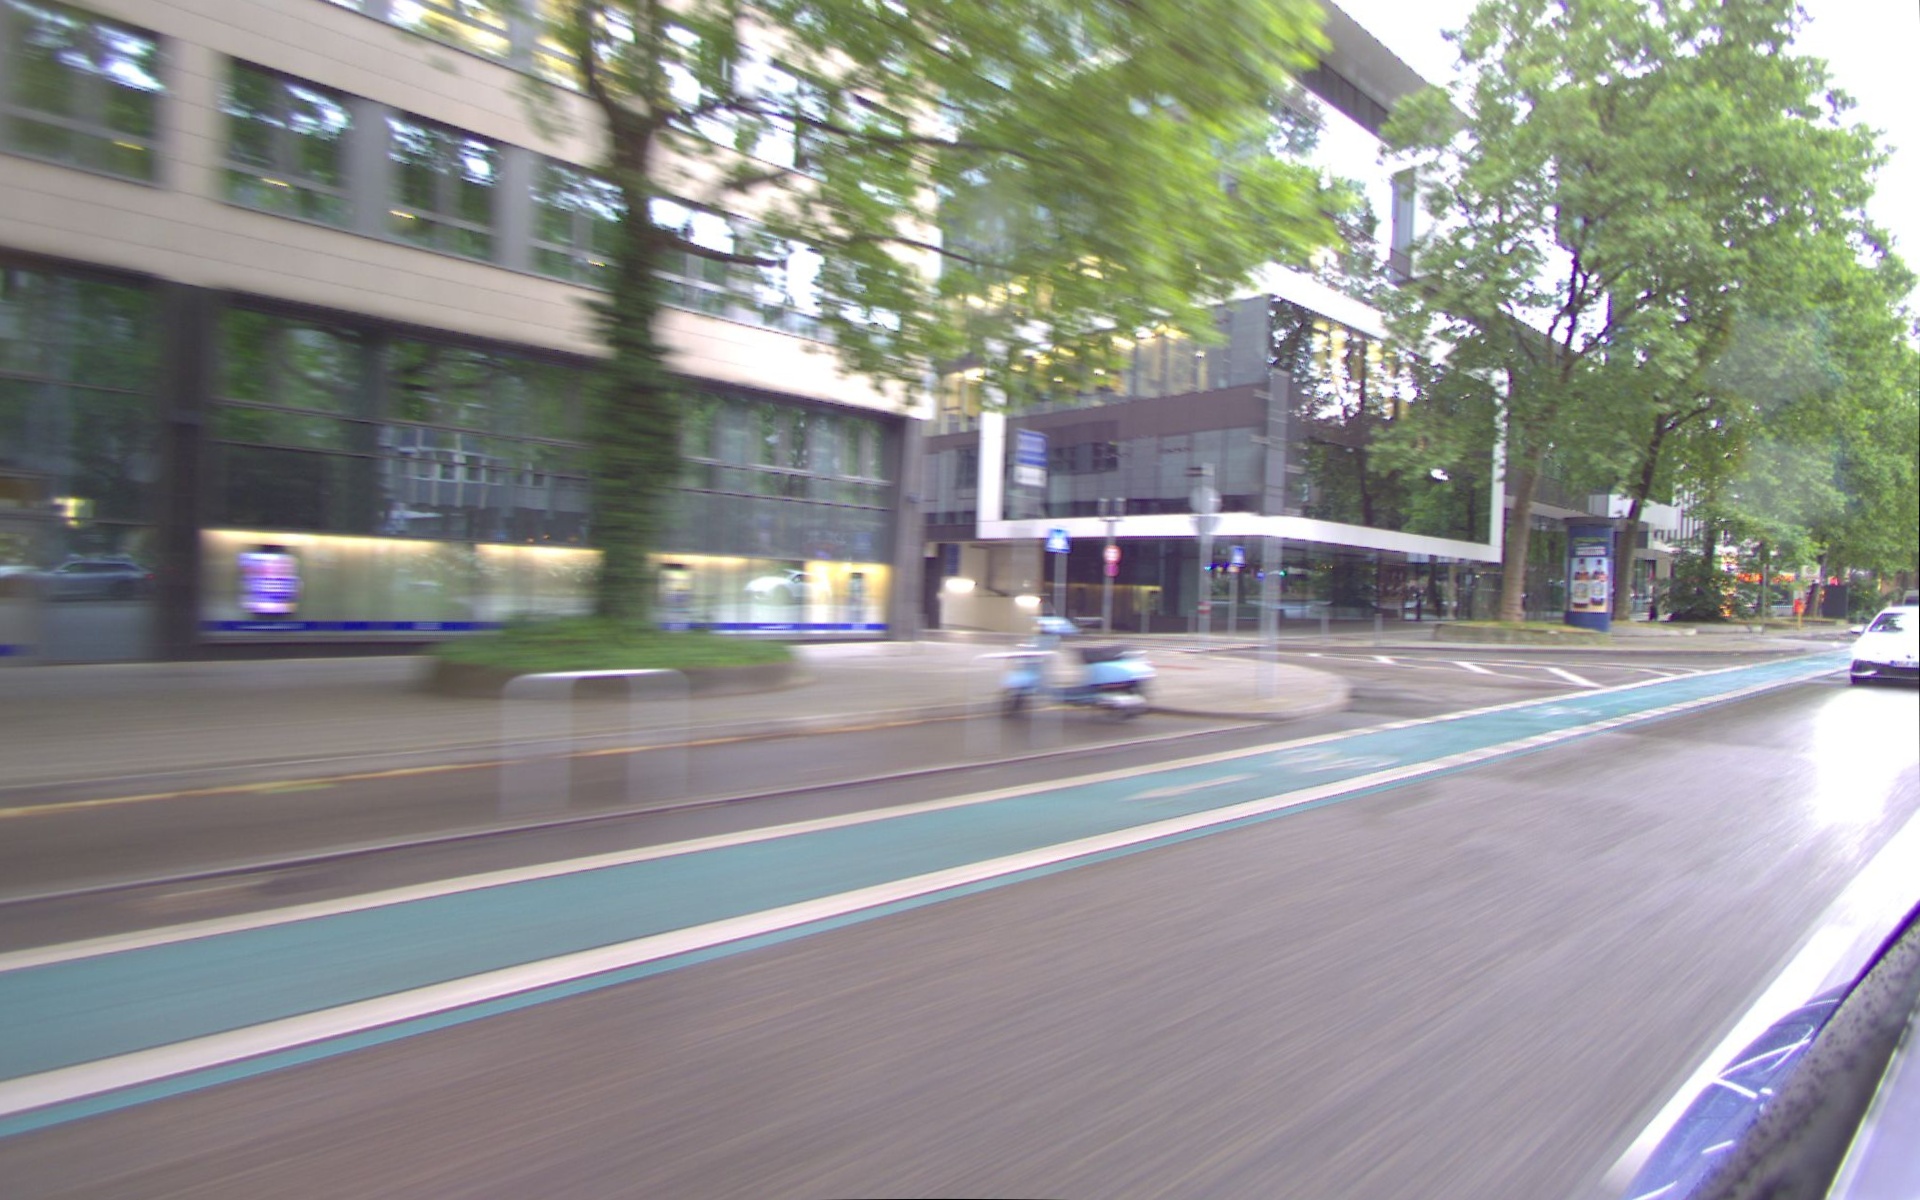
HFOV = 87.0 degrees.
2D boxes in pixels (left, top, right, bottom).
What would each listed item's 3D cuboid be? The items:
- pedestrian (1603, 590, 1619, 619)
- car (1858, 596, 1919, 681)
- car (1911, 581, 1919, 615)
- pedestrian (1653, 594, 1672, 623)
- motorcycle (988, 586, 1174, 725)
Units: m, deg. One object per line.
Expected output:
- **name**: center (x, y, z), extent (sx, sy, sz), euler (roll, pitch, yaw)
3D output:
- **pedestrian**: center (38.233, 0.246, 59.447), extent (0.707, 1.645, 0.527), euler (-1, 4, -41)
- **car**: center (18.302, 0.684, 18.905), extent (3.726, 1.490, 1.794), euler (0, 0, -40)
- **car**: center (78.583, -0.102, 79.094), extent (2.275, 2.713, 6.292), euler (0, 1, -5)
- **pedestrian**: center (37.865, 0.448, 54.535), extent (0.987, 1.524, 0.588), euler (1, 1, -40)
- **motorcycle**: center (1.314, 0.592, 11.274), extent (1.908, 1.383, 0.685), euler (3, 3, 0)
